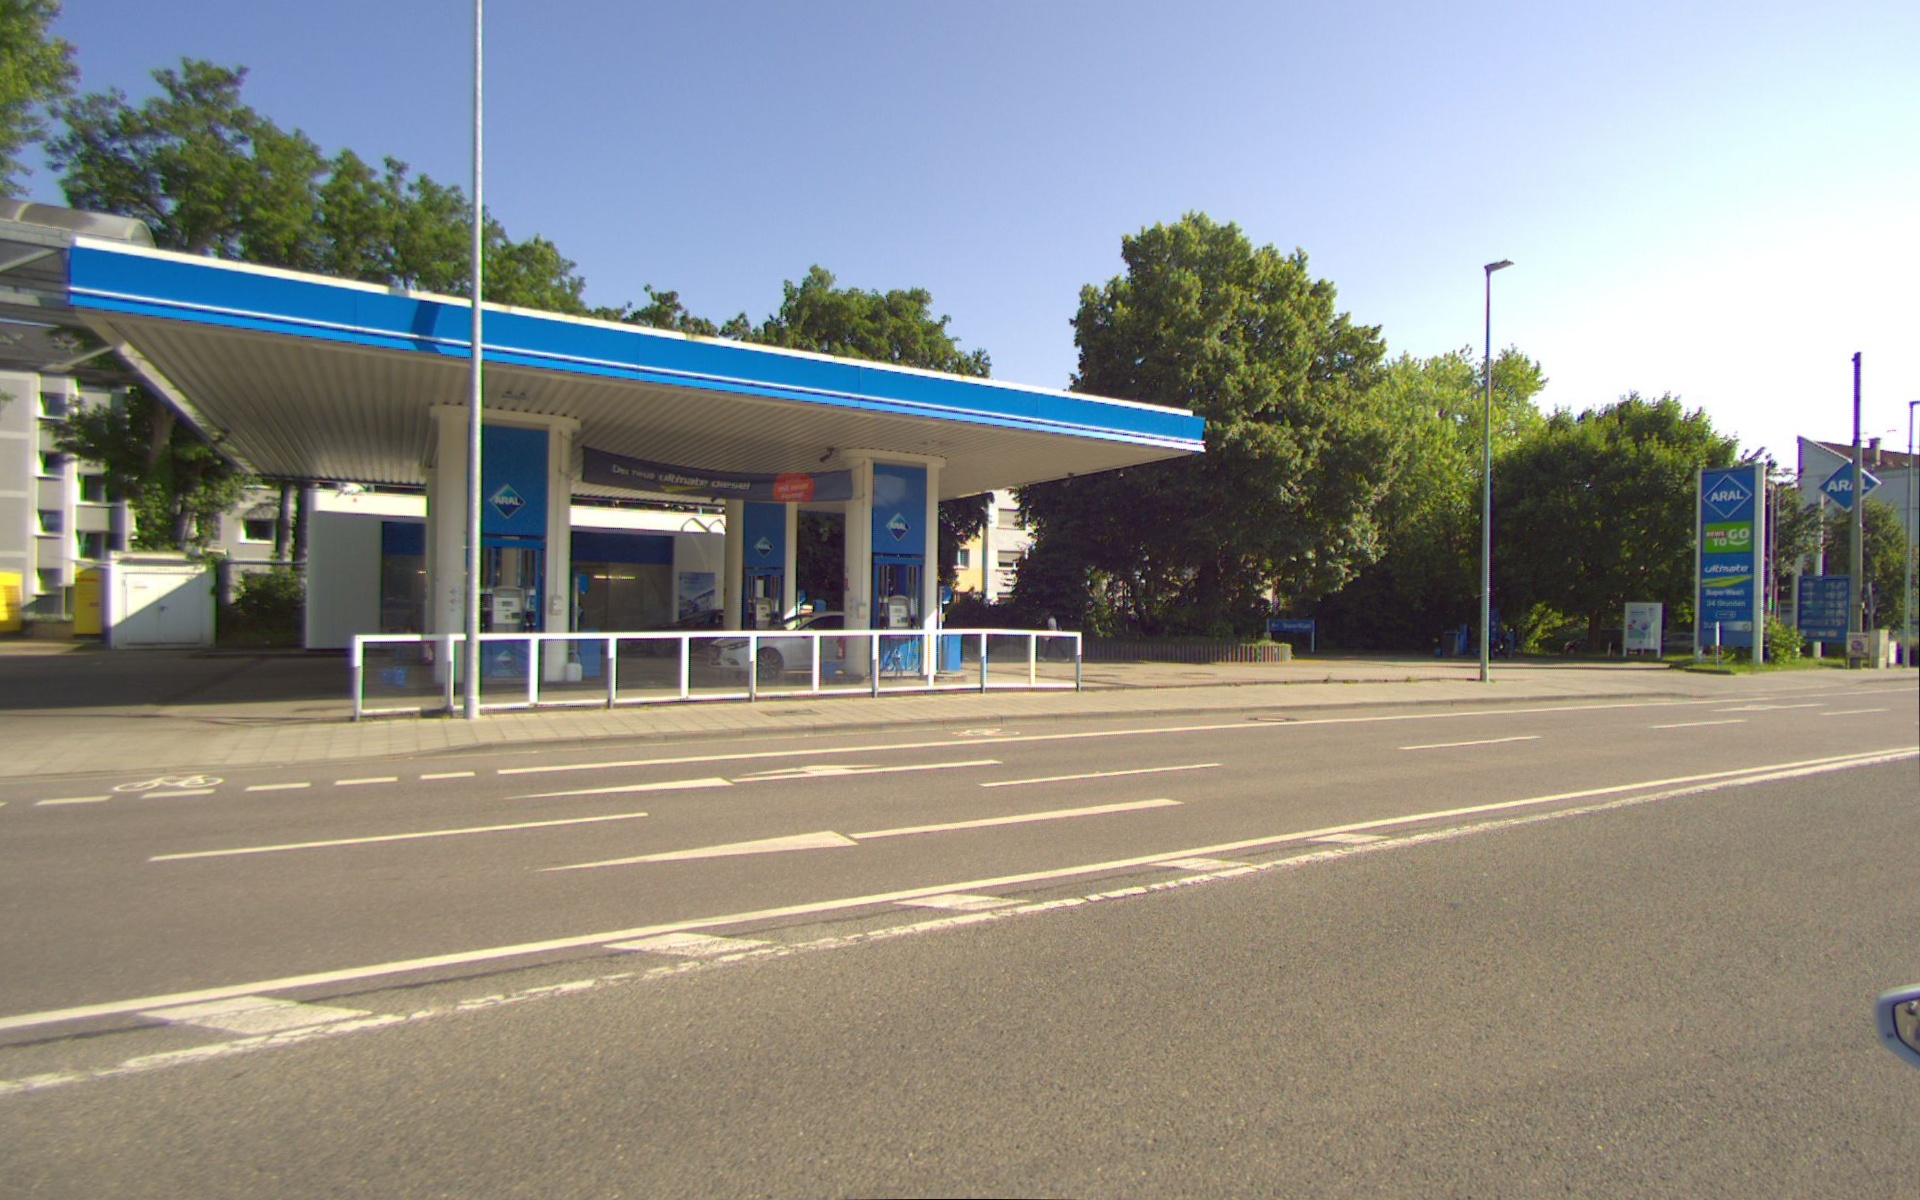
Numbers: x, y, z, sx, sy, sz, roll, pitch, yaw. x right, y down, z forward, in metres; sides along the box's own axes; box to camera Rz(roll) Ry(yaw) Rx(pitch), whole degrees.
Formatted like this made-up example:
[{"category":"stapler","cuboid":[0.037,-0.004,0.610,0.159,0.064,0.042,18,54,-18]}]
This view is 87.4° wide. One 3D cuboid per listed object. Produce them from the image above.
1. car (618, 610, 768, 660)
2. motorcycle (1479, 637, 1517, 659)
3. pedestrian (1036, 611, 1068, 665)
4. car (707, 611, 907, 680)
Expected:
[{"category":"car","cuboid":[-8.073,1.040,30.427,4.075,1.412,1.734,1,-1,-32]},{"category":"motorcycle","cuboid":[22.769,2.037,42.527,1.651,0.913,0.668,1,-1,-31]},{"category":"pedestrian","cuboid":[3.060,1.246,33.407,0.844,1.751,0.655,1,-1,-43]},{"category":"car","cuboid":[-3.369,0.968,22.388,4.075,1.412,1.734,1,-1,-32]}]
